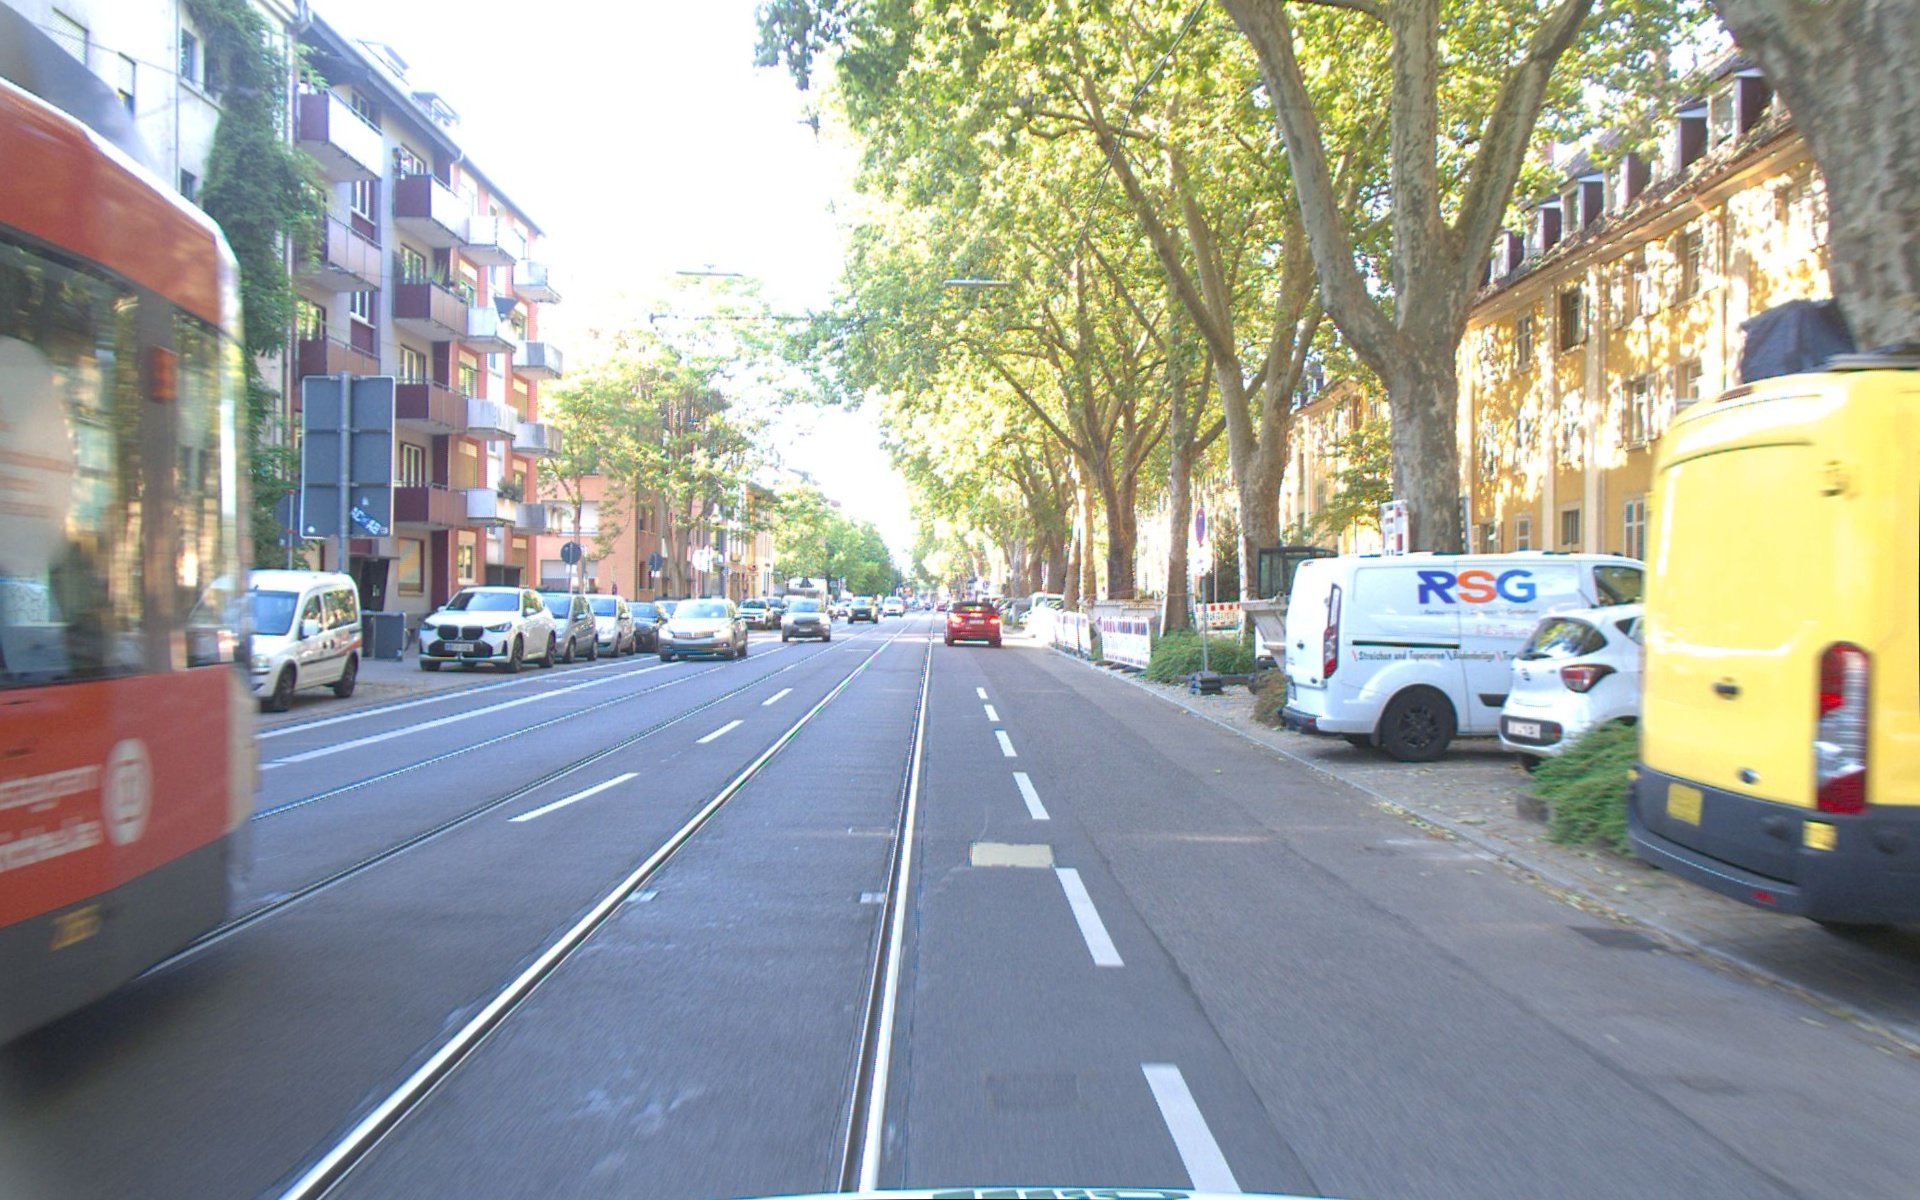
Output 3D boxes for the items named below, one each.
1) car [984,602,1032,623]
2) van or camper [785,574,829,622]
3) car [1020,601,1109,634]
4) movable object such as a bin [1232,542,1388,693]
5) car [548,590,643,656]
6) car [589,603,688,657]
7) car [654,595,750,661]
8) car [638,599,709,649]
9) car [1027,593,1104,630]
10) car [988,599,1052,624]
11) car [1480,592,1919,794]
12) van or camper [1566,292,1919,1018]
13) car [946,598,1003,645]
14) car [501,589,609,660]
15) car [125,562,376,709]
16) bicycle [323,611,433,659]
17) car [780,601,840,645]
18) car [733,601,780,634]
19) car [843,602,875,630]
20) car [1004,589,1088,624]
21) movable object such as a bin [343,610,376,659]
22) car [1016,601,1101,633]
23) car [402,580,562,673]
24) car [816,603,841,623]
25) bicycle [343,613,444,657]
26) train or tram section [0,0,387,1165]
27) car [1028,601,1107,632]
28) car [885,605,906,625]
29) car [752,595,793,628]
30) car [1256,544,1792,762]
[{"bbox_3d":[3.973,1.009,136.980,3.845,1.699,1.960,0,0,-3],"label":"car"},{"bbox_3d":[-10.629,-0.132,115.234,2.290,3.094,6.397,3,0,0],"label":"van or camper"},{"bbox_3d":[4.902,0.823,77.946,4.005,1.548,1.915,0,-1,-2],"label":"car"},{"bbox_3d":[5.742,0.268,26.944,1.455,2.309,3.268,0,0,32],"label":"movable object such as a bin"},{"bbox_3d":[-9.609,0.584,43.915,1.783,1.614,4.003,1,0,-3],"label":"car"},{"bbox_3d":[-9.492,0.850,49.239,1.912,1.419,4.862,3,0,0],"label":"car"},{"bbox_3d":[-6.339,0.659,41.083,1.759,1.471,4.715,2,0,-2],"label":"car"},{"bbox_3d":[-9.427,0.768,54.654,1.690,1.509,3.928,3,0,-2],"label":"car"},{"bbox_3d":[5.253,0.571,82.236,3.764,1.803,1.917,0,0,3],"label":"car"},{"bbox_3d":[4.259,0.832,116.977,4.402,1.630,2.028,-2,-1,3],"label":"car"},{"bbox_3d":[6.206,0.726,13.727,3.237,1.566,1.697,0,0,-3],"label":"car"},{"bbox_3d":[5.957,0.207,7.196,5.803,2.675,2.270,0,-1,1],"label":"van or camper"},{"bbox_3d":[0.454,0.676,53.642,1.756,1.413,4.236,1,0,0],"label":"car"},{"bbox_3d":[-9.524,0.572,39.180,1.592,1.599,3.781,0,-1,0],"label":"car"},{"bbox_3d":[-9.528,0.433,22.618,1.753,1.802,4.467,0,0,-4],"label":"car"},{"bbox_3d":[-14.280,0.848,40.618,2.402,1.081,0.698,2,0,-4],"label":"bicycle"},{"bbox_3d":[-5.260,0.792,58.258,1.759,1.471,4.052,-1,0,-1],"label":"car"},{"bbox_3d":[-10.184,0.880,82.860,1.769,1.504,4.089,2,-1,0],"label":"car"},{"bbox_3d":[-6.406,1.012,105.226,1.816,1.628,4.462,3,0,-2],"label":"car"},{"bbox_3d":[5.056,0.380,97.728,4.740,1.998,2.063,0,0,-3],"label":"car"},{"bbox_3d":[-13.963,0.801,38.465,0.567,1.119,0.498,0,0,-1],"label":"movable object such as a bin"},{"bbox_3d":[5.020,0.862,84.255,4.279,1.569,1.802,0,0,3],"label":"car"},{"bbox_3d":[-9.527,0.514,33.388,1.913,1.677,4.879,2,-1,-2],"label":"car"},{"bbox_3d":[-10.984,1.088,138.430,1.799,1.494,5.066,3,0,-3],"label":"car"},{"bbox_3d":[-14.292,0.873,41.768,2.244,1.010,0.698,2,0,-4],"label":"bicycle"},{"bbox_3d":[-3.868,-0.304,0.225,2.849,3.547,14.195,0,0,-1],"label":"train or tram section"},{"bbox_3d":[5.220,0.789,80.271,3.764,1.458,1.852,0,0,3],"label":"car"},{"bbox_3d":[-5.949,1.386,153.157,1.853,1.864,4.894,0,0,-1],"label":"car"},{"bbox_3d":[-9.976,0.609,88.216,1.745,1.638,4.586,3,0,-2],"label":"car"},{"bbox_3d":[5.563,0.496,16.772,4.736,2.048,2.063,0,0,-1],"label":"car"}]
